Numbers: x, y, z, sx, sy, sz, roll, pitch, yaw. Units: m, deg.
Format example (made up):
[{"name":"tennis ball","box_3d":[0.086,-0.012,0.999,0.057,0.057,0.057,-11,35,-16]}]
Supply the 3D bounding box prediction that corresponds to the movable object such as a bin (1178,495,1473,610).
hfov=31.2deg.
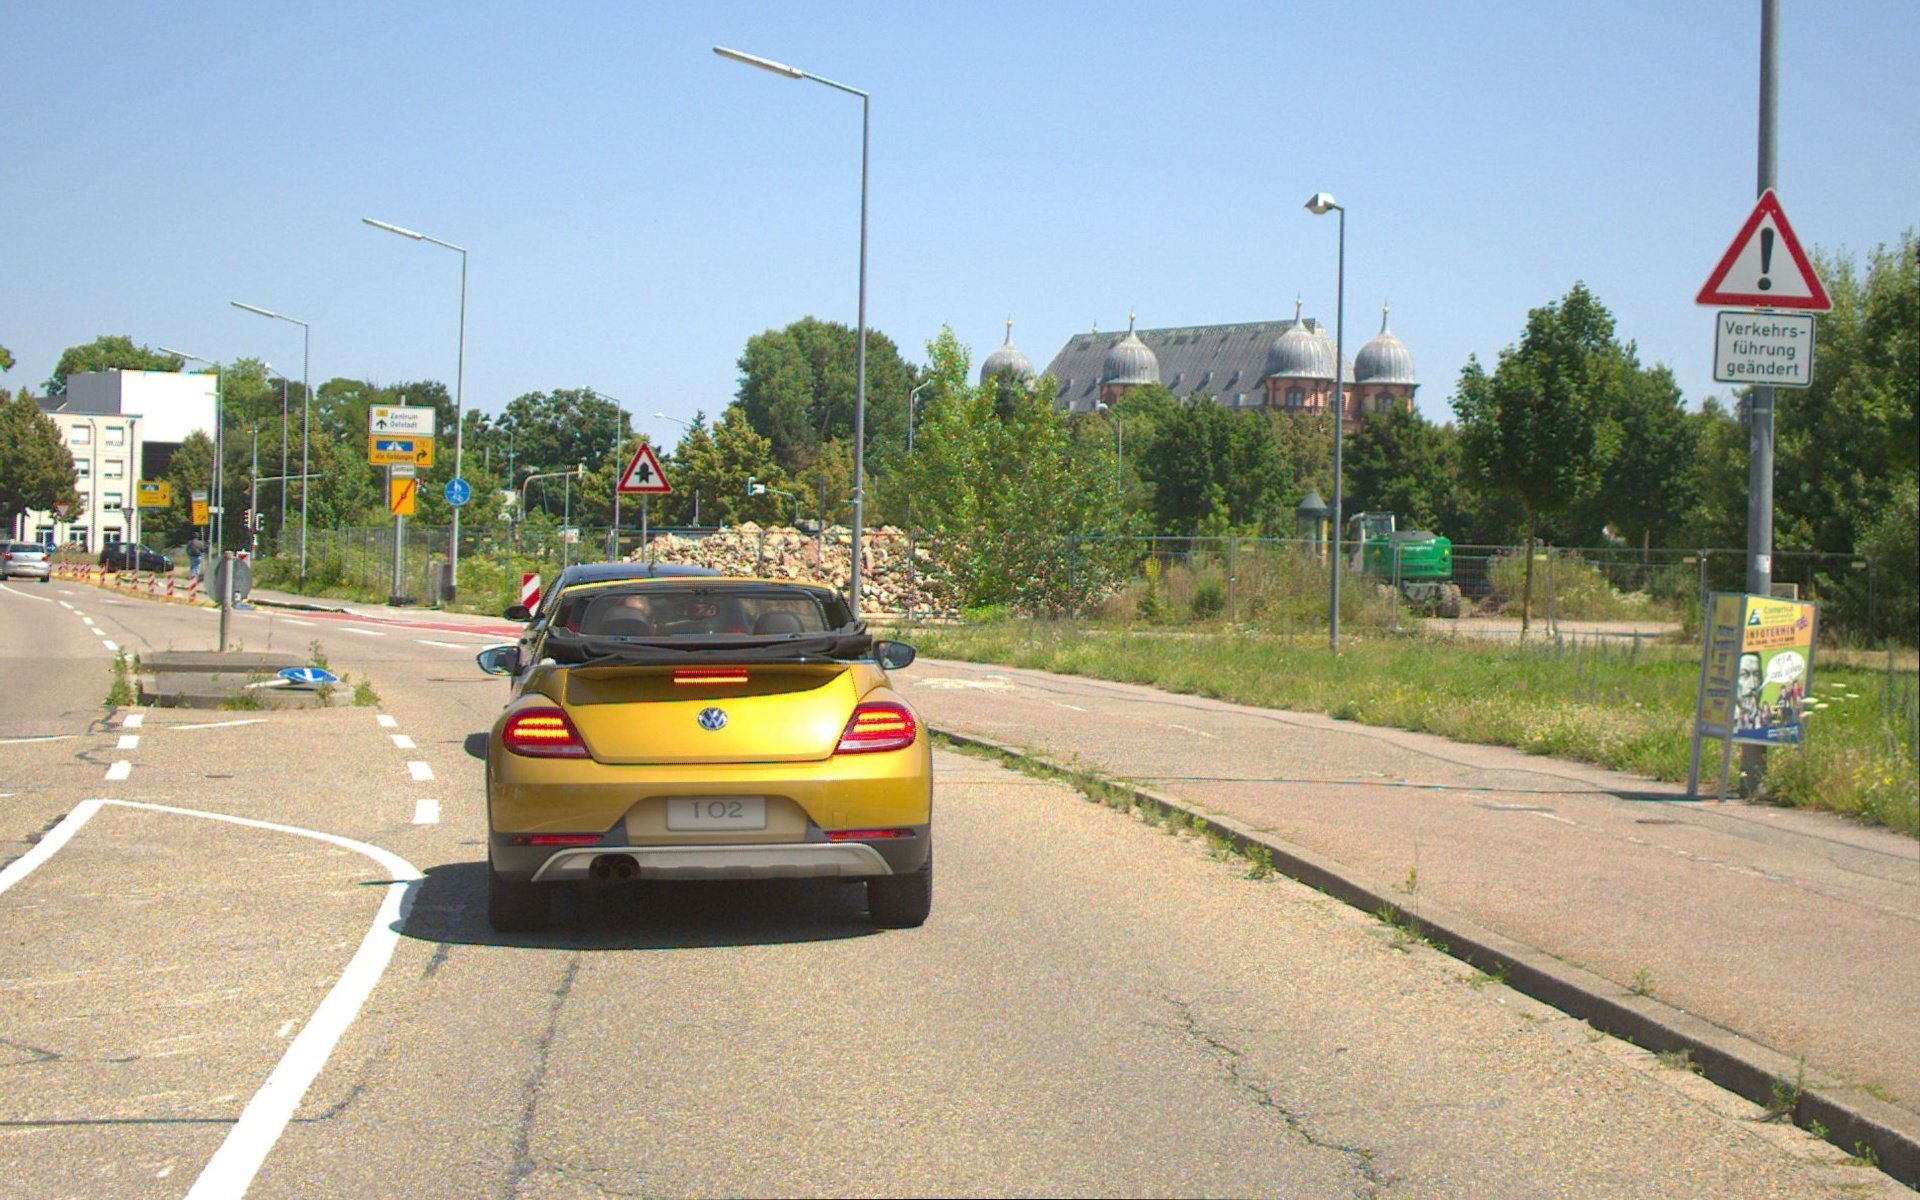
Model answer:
[{"name":"movable object such as a bin","box_3d":[11.015,-1.455,105.301,4.937,3.249,10.472,1,0,-19]}]

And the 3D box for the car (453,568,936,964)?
[{"name":"car","box_3d":[-1.038,0.609,14.868,1.790,1.432,3.814,1,1,-1]}]

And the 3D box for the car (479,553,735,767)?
[{"name":"car","box_3d":[-2.617,0.393,25.613,1.726,1.438,4.001,1,0,-6]}]
